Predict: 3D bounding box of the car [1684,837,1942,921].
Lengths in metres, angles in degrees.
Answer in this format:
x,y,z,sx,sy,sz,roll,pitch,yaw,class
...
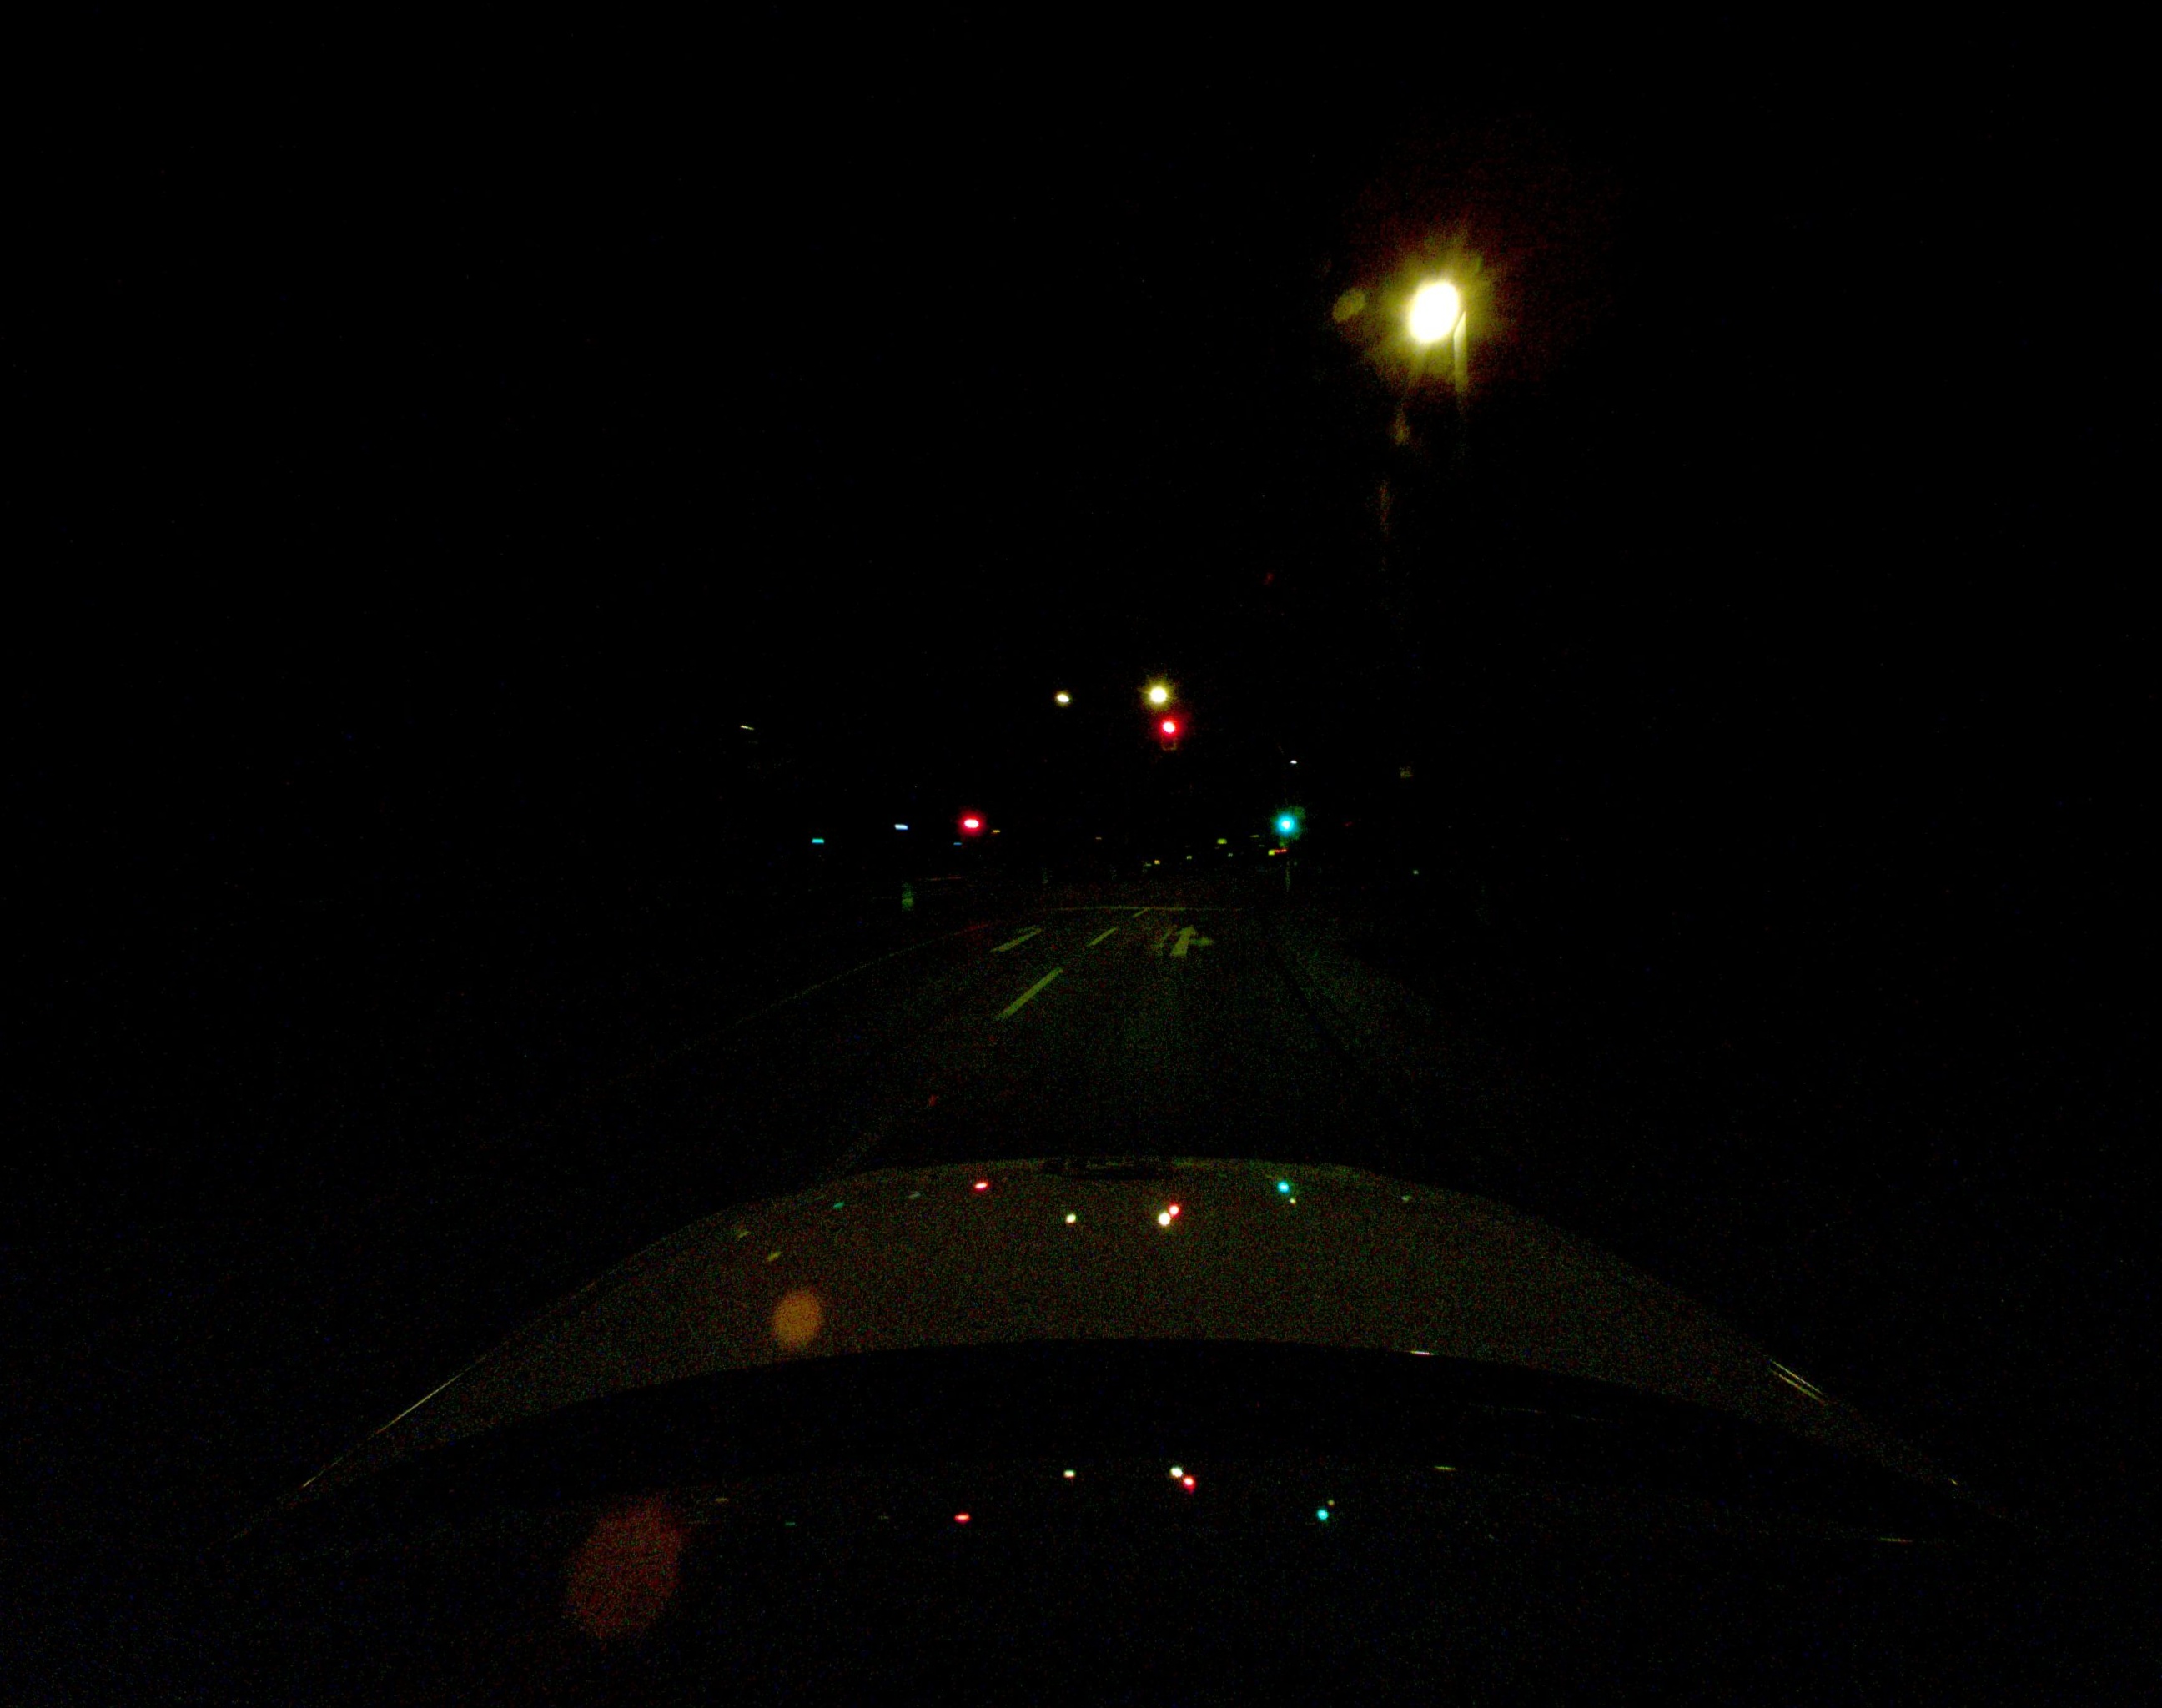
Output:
x,y,z,sx,sy,sz,roll,pitch,yaw,class
14.775,0.445,16.690,1.707,1.505,3.571,0,0,-18,car

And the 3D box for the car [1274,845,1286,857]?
x,y,z,sx,sy,sz,roll,pitch,yaw,class
36.171,-0.478,147.809,1.979,2.014,4.014,0,-2,14,car

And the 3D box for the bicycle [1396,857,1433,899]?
x,y,z,sx,sy,sz,roll,pitch,yaw,class
8.355,0.624,20.479,0.293,0.982,1.947,-1,-3,6,bicycle
